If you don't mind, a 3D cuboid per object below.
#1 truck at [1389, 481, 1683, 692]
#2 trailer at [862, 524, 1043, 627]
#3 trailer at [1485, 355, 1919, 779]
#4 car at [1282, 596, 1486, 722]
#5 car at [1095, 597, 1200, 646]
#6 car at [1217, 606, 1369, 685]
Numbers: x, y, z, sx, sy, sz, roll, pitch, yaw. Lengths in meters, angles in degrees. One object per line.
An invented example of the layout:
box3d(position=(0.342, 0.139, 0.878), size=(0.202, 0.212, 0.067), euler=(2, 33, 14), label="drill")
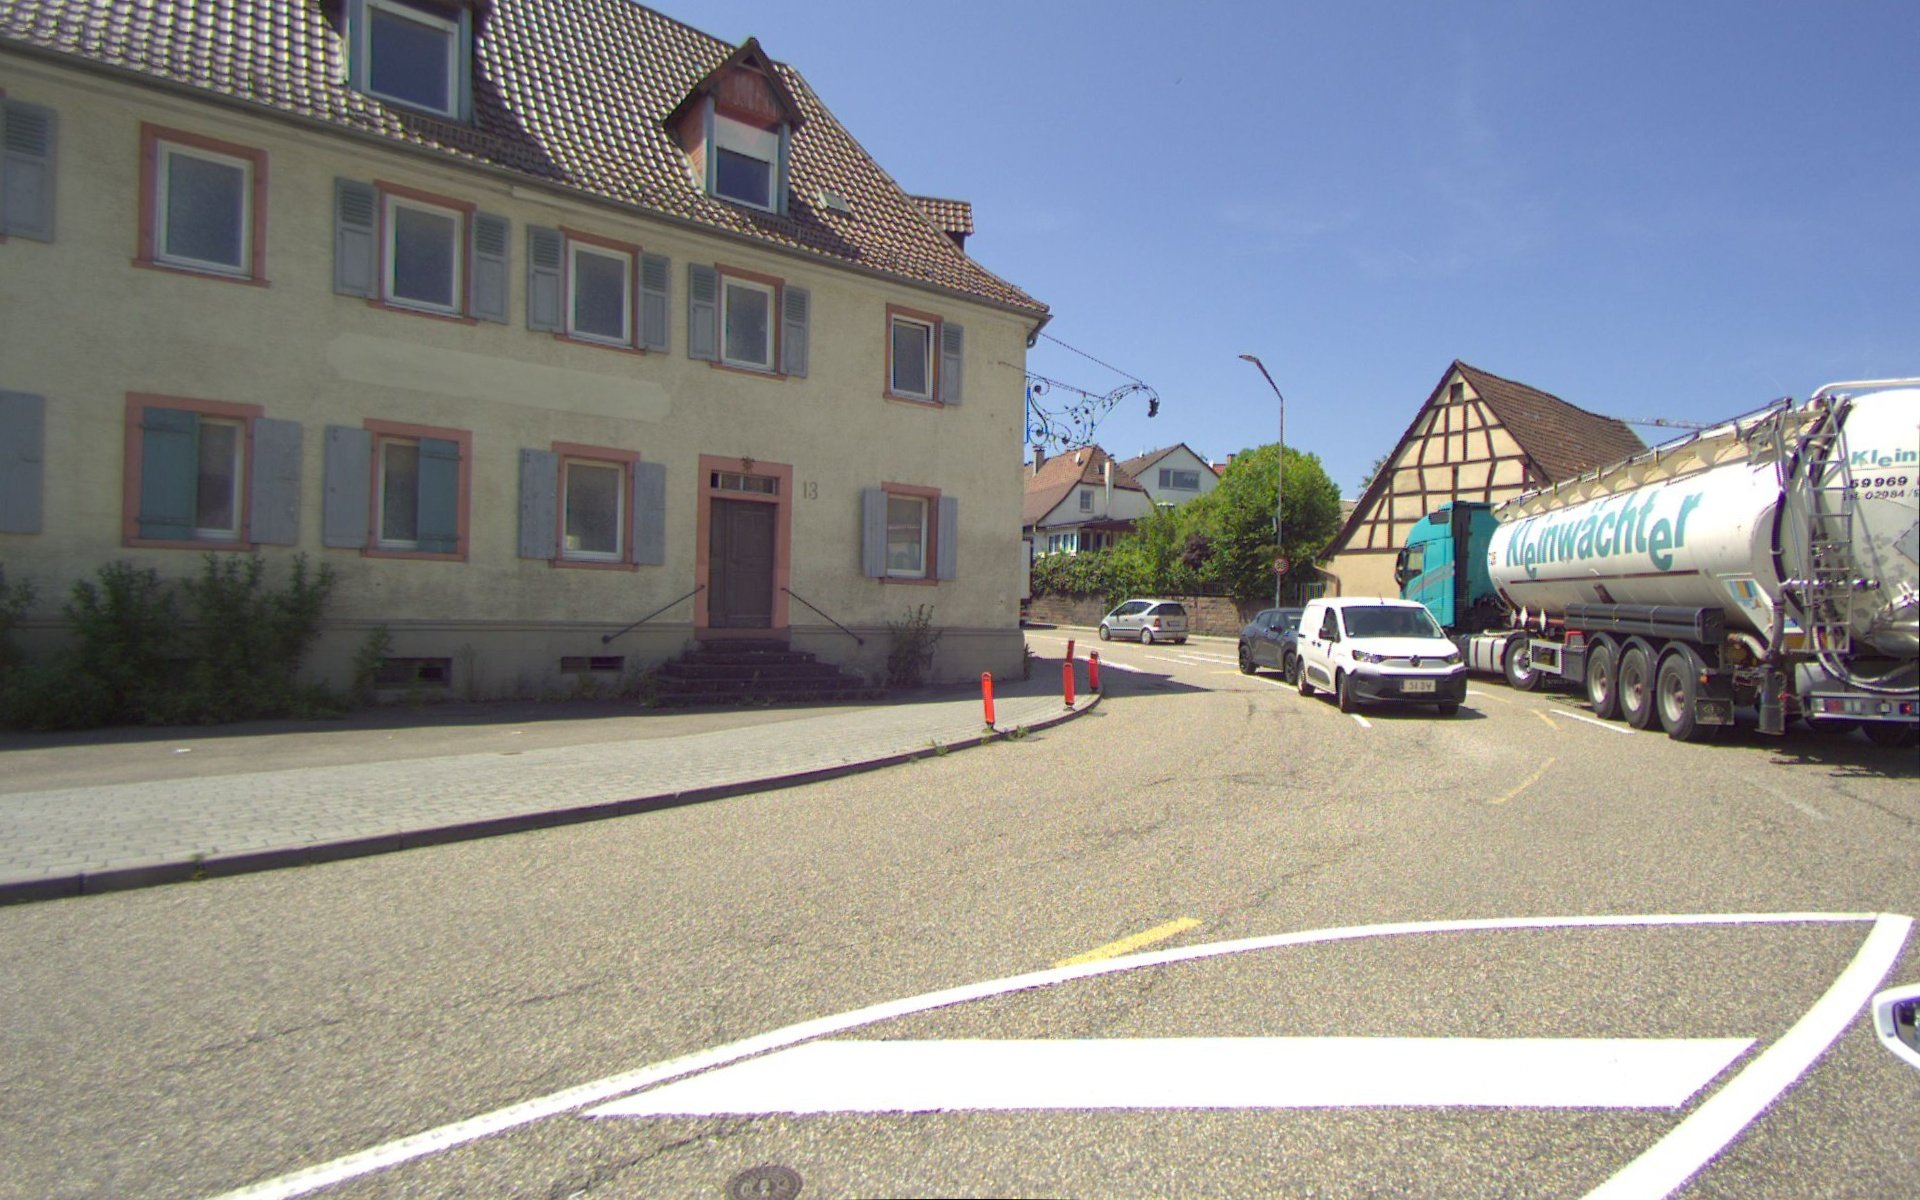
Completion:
box3d(position=(12.321, -0.237, 22.163), size=(2.940, 4.018, 5.575), euler=(1, 0, -4), label="truck")
box3d(position=(-0.778, -1.097, 49.244), size=(3.106, 4.334, 12.393), euler=(2, 0, -30), label="trailer")
box3d(position=(10.849, -0.281, 15.016), size=(2.903, 4.000, 11.622), euler=(2, 0, 16), label="trailer")
box3d(position=(6.965, 0.869, 17.053), size=(1.842, 1.809, 4.523), euler=(1, 0, 5), label="car")
box3d(position=(6.620, 0.732, 35.753), size=(1.767, 1.606, 3.578), euler=(2, -1, -29), label="car")
box3d(position=(7.489, 0.972, 23.028), size=(1.764, 1.544, 3.996), euler=(2, 1, -6), label="car")
